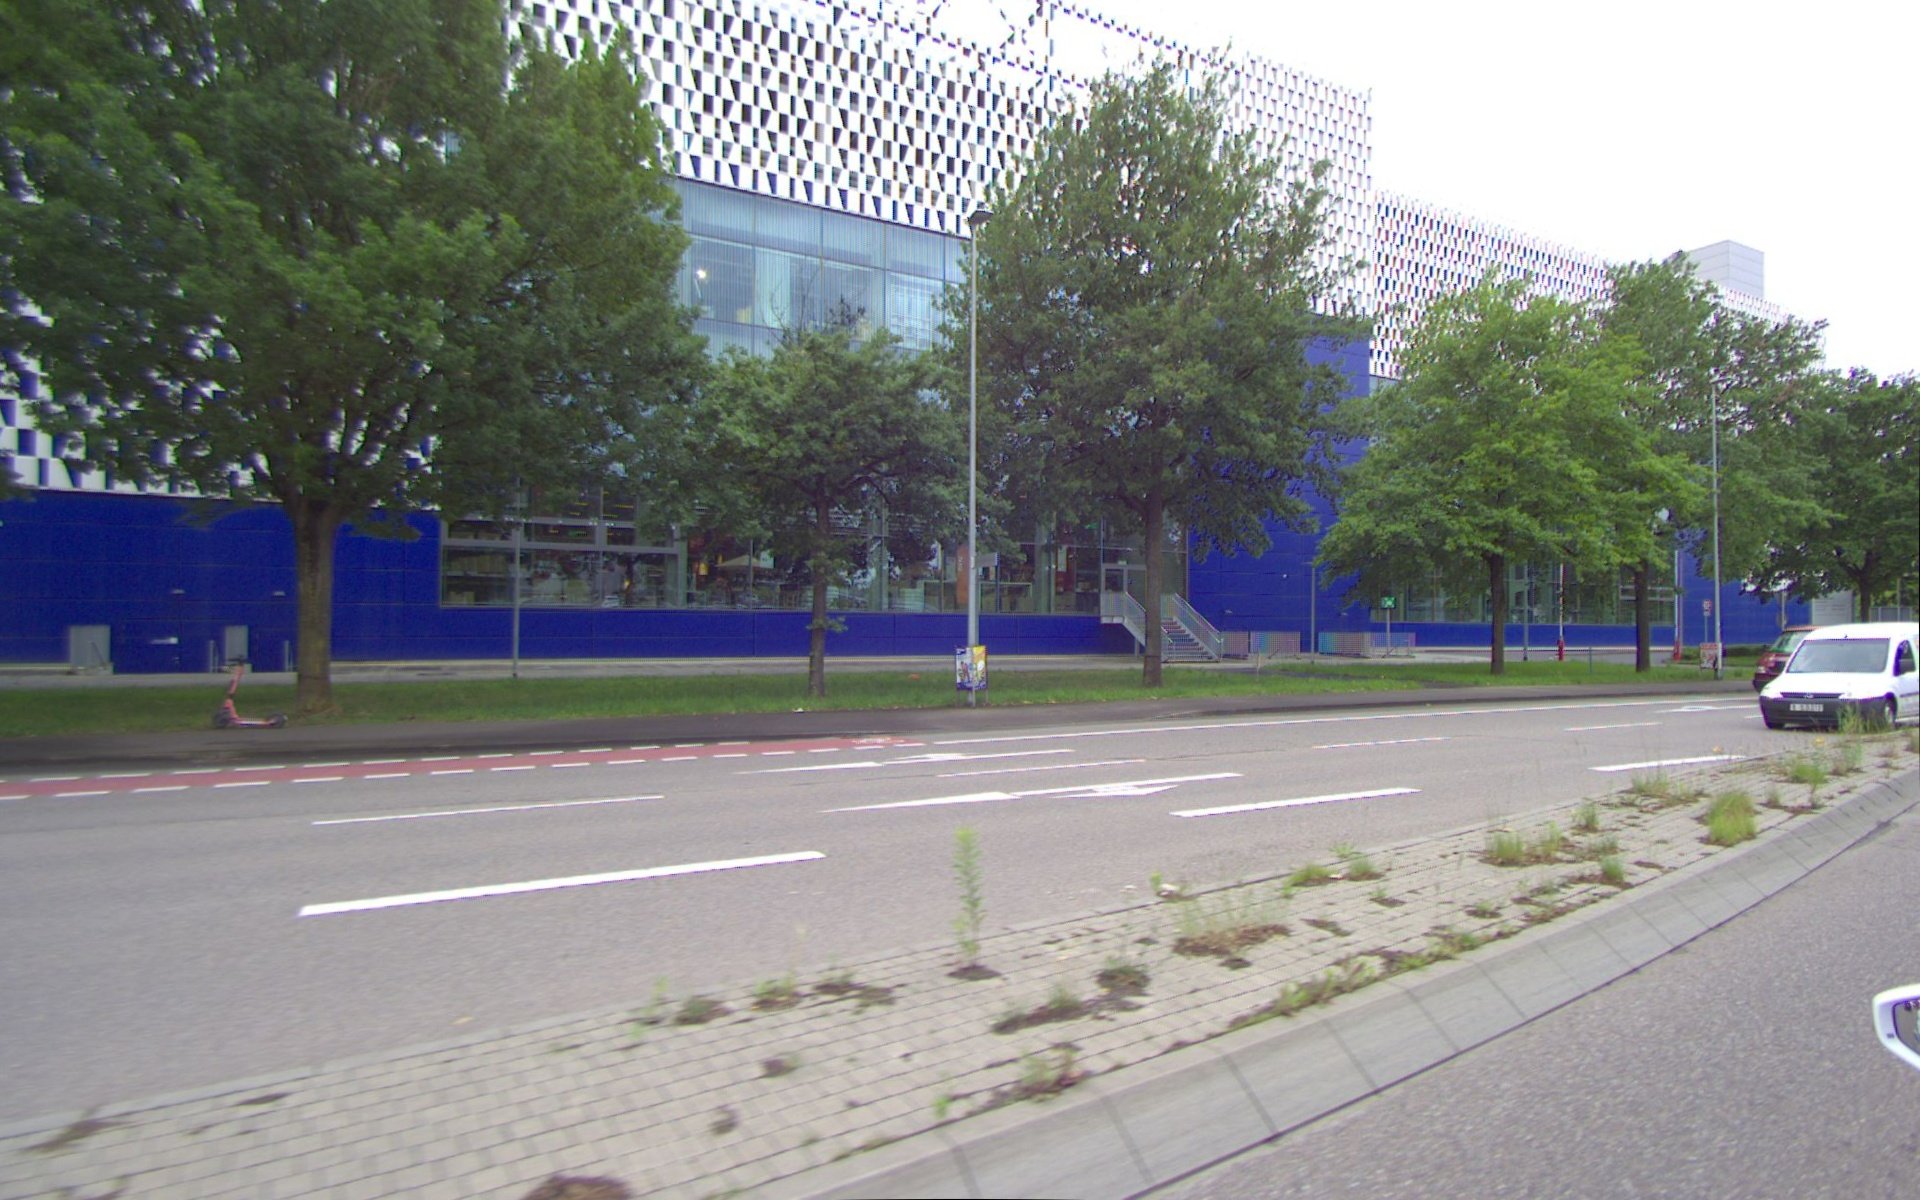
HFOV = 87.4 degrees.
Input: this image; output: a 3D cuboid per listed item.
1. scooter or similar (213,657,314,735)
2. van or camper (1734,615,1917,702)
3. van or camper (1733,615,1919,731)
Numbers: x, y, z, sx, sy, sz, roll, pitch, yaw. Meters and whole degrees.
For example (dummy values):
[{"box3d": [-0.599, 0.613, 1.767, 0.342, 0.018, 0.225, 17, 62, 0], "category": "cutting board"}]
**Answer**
[{"box3d": [-11.851, 1.610, 17.135, 1.361, 1.212, 0.652, 0, 0, -30], "category": "scooter or similar"}, {"box3d": [21.903, 1.406, 25.396, 4.828, 2.012, 1.868, 0, -2, -28], "category": "van or camper"}, {"box3d": [15.258, 1.201, 17.181, 4.357, 1.769, 1.747, 1, -4, -32], "category": "van or camper"}]
